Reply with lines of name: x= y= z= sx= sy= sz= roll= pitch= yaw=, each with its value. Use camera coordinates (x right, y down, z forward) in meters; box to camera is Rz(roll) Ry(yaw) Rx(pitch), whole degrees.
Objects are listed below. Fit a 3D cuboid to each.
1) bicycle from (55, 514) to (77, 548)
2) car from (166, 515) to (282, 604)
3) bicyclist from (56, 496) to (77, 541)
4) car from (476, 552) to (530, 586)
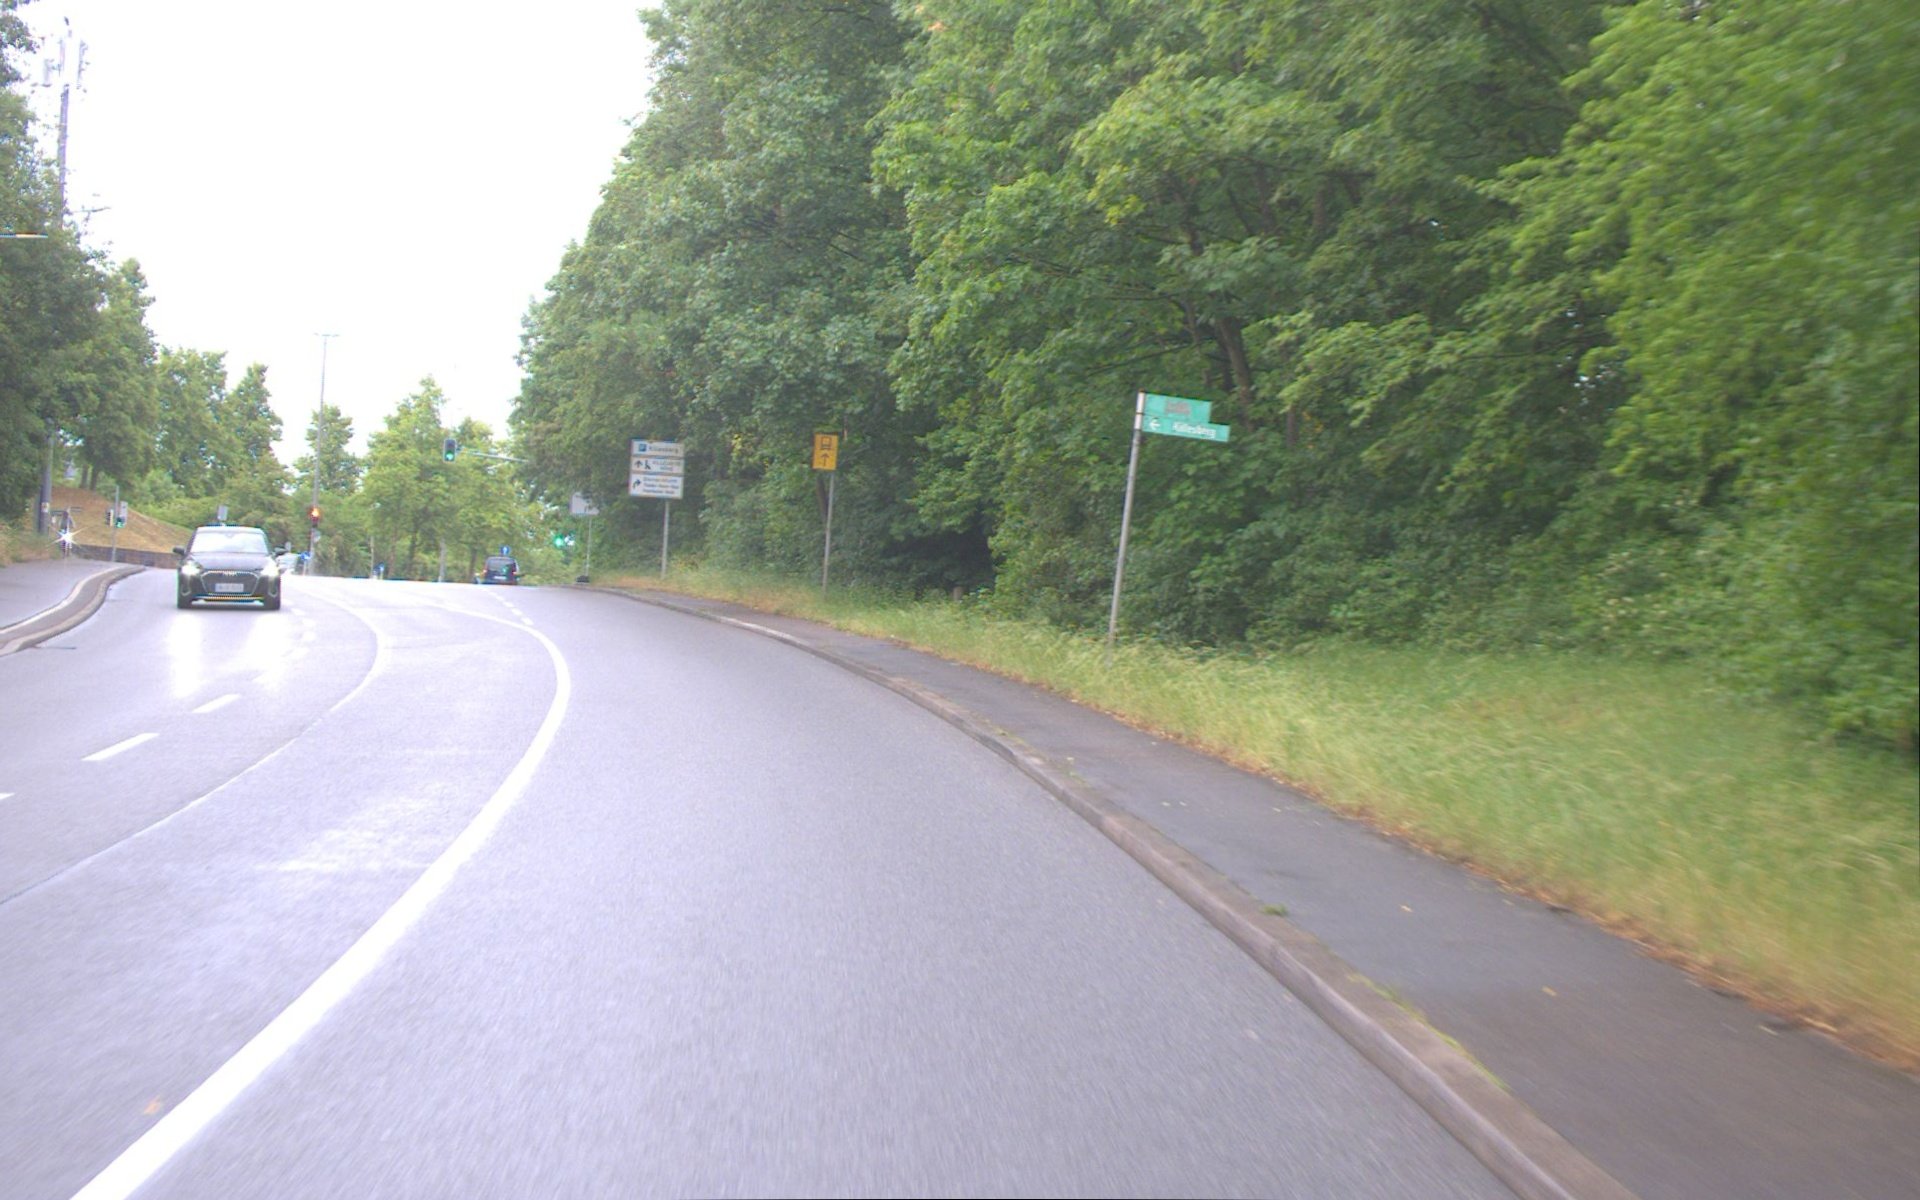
bicycle: x=-32.769 y=-2.534 z=125.975 sx=0.704 sy=1.238 sz=2.165 roll=1 pitch=1 yaw=-14
car: x=-13.172 y=-0.744 z=61.719 sx=1.934 sy=1.493 sz=4.319 roll=1 pitch=1 yaw=-11
bicyclist: x=-32.749 y=-2.996 z=125.973 sx=0.704 sy=1.639 sz=0.951 roll=1 pitch=1 yaw=-14
car: x=-21.338 y=-1.481 z=160.699 sx=1.935 sy=1.493 sz=4.318 roll=2 pitch=1 yaw=-1
